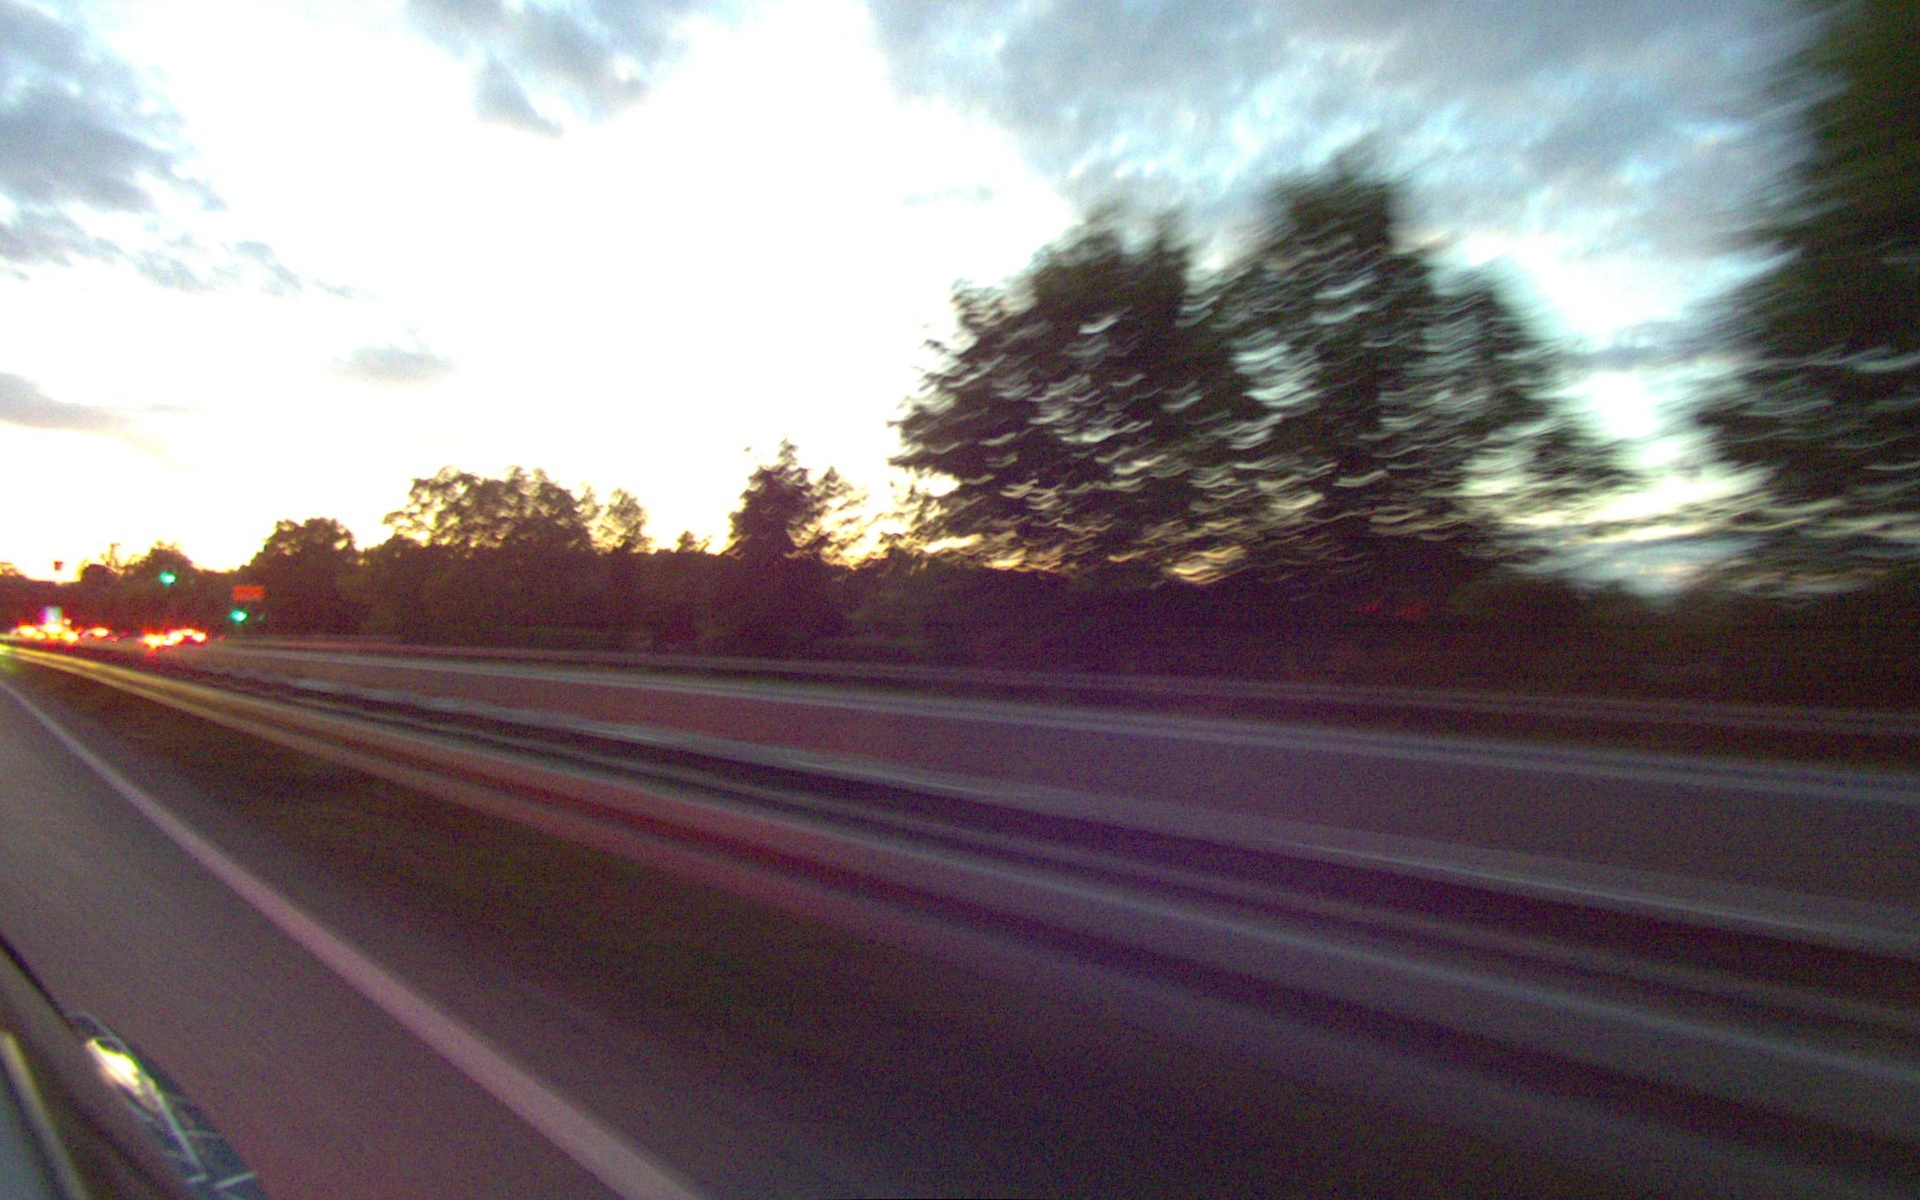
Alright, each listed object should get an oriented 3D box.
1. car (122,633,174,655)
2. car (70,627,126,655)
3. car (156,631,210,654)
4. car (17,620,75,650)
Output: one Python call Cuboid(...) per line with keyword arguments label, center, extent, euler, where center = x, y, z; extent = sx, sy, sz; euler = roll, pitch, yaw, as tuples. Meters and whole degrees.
Cuboid(label="car", center=(-55.544, 3.005, 69.225), extent=(4.732, 1.464, 1.973), euler=(-3, -4, 41))
Cuboid(label="car", center=(-55.363, 2.610, 64.967), extent=(4.870, 1.694, 1.973), euler=(0, -2, 40))
Cuboid(label="car", center=(-50.405, 2.737, 65.611), extent=(4.733, 1.464, 1.972), euler=(-2, -3, 42))
Cuboid(label="car", center=(-50.999, 1.958, 56.452), extent=(4.823, 1.582, 1.971), euler=(-2, -4, 43))
